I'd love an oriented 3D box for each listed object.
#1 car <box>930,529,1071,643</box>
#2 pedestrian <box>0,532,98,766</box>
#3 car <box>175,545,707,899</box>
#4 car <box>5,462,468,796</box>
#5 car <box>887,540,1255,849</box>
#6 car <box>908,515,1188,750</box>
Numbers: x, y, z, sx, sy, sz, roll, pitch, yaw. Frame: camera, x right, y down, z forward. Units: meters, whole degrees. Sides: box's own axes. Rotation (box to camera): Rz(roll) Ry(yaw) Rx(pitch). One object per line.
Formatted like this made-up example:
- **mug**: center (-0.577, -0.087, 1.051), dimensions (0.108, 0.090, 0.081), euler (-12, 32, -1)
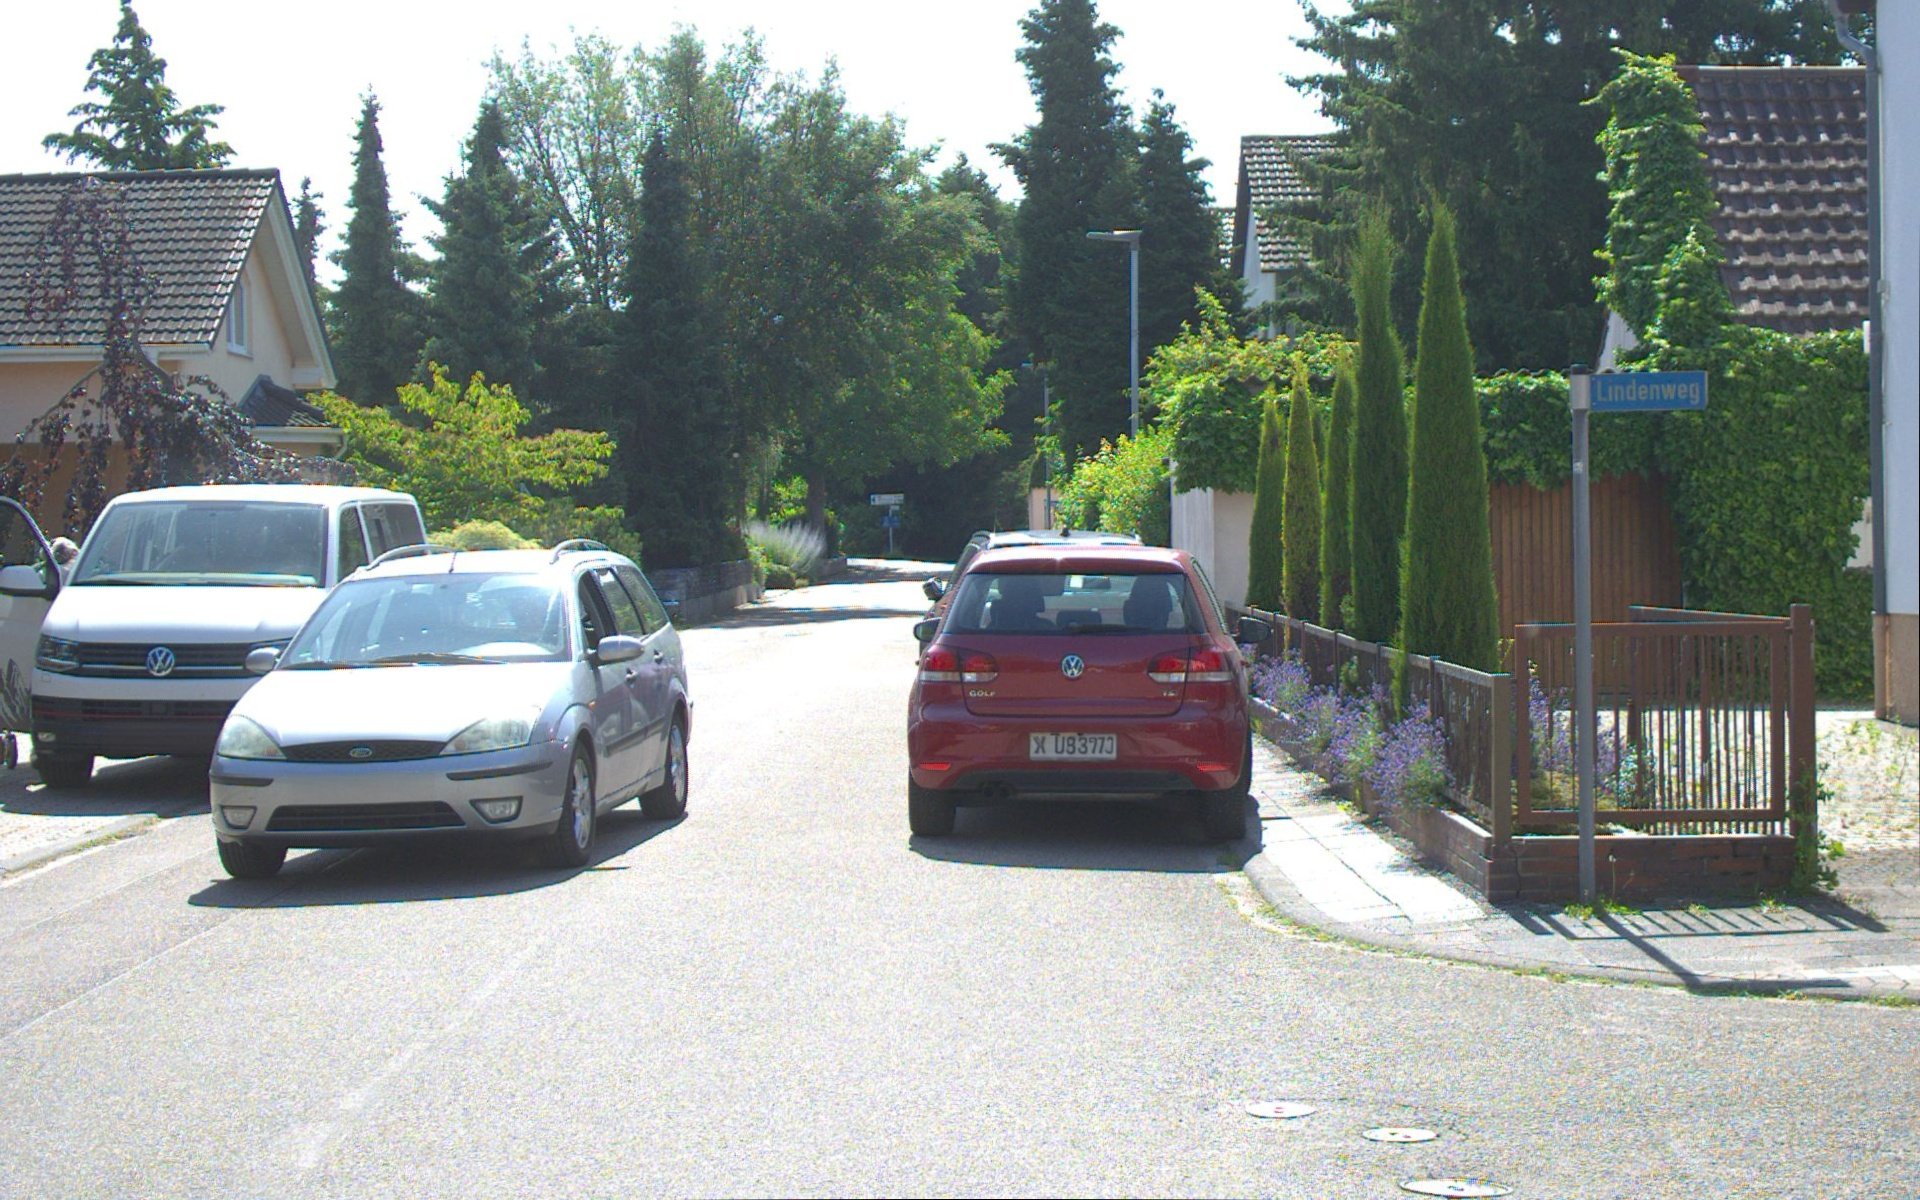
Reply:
- **car**: center (0.484, -0.207, 44.234), dimensions (1.702, 1.395, 4.000), euler (0, 1, -1)
- **pedestrian**: center (-6.291, 0.311, 23.099), dimensions (0.718, 1.533, 0.641), euler (1, 2, 34)
- **car**: center (-2.452, 0.507, 17.340), dimensions (1.753, 1.482, 4.375), euler (-2, 1, 3)
- **car**: center (-4.728, 0.131, 23.242), dimensions (1.929, 2.007, 4.896), euler (0, 1, 2)
- **car**: center (0.669, 0.426, 18.870), dimensions (1.775, 1.474, 4.000), euler (1, 1, 4)
- **car**: center (0.576, 0.185, 25.624), dimensions (1.822, 1.610, 4.001), euler (0, 1, -2)
